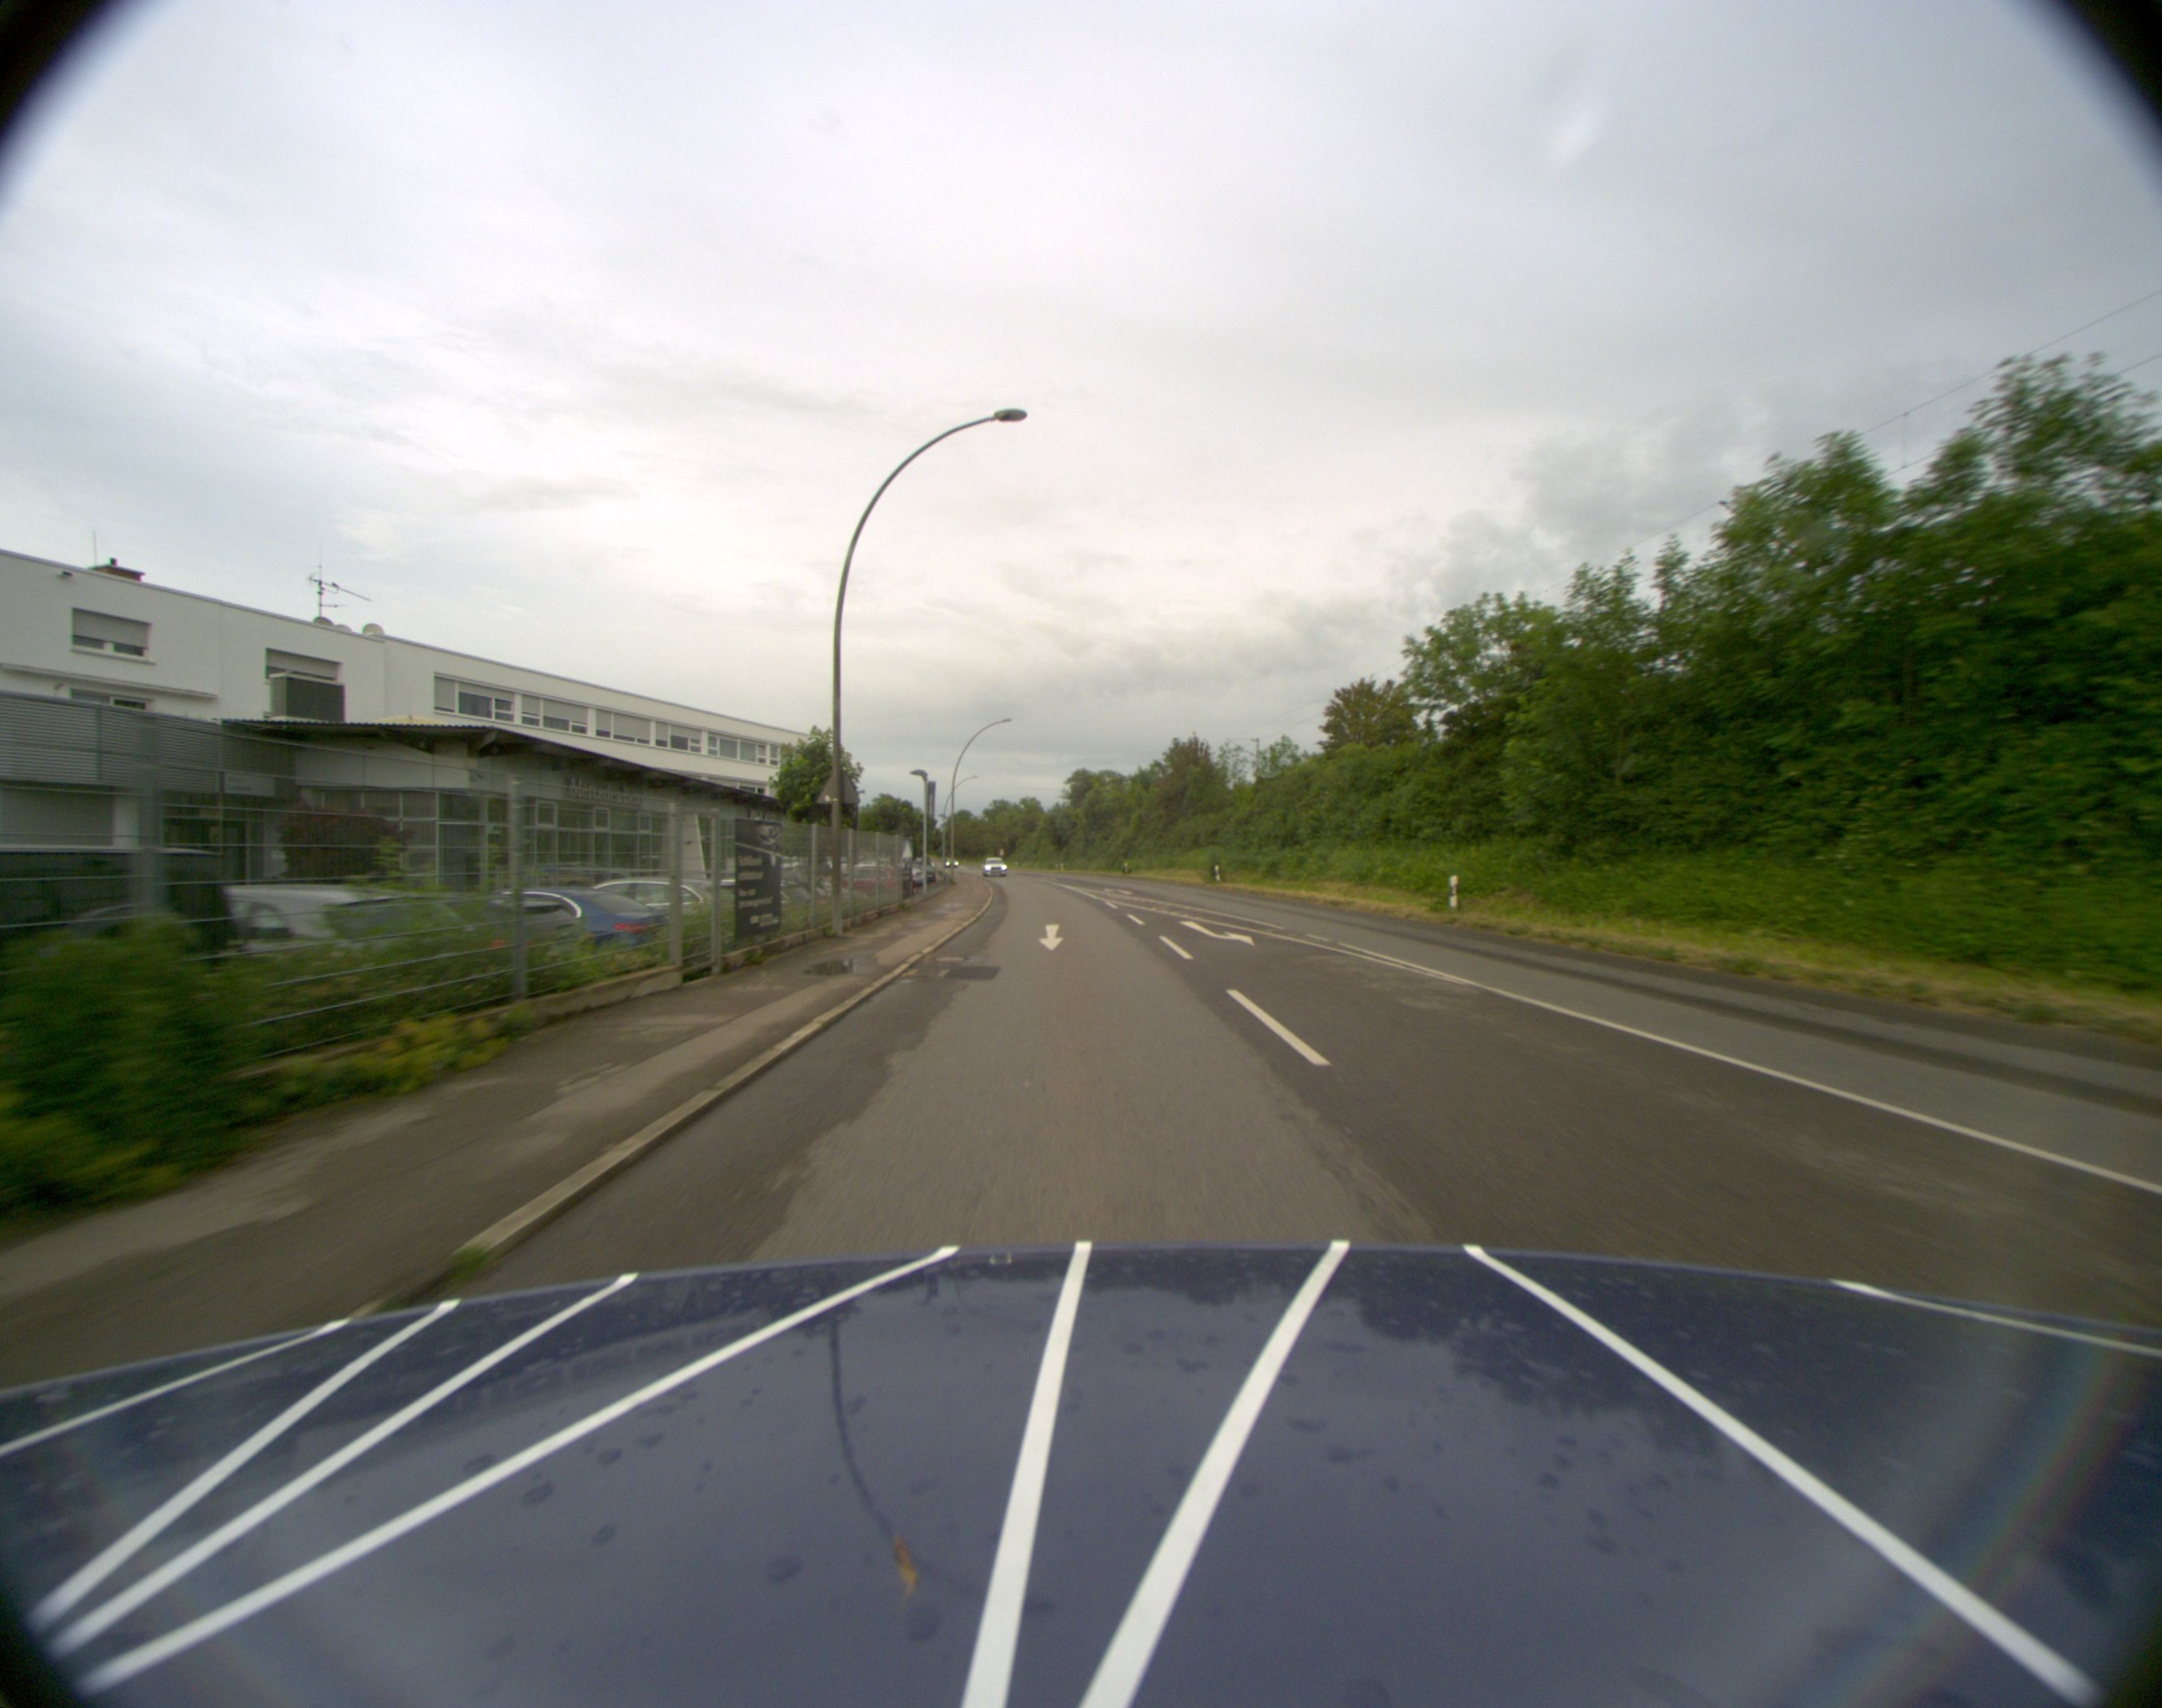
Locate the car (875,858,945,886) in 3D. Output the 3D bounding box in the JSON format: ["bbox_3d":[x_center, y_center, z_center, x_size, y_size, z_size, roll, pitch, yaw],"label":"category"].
[{"bbox_3d":[-10.870,1.147,48.399,3.990,1.547,1.902,-2,2,27],"label":"car"}]

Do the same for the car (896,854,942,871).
[{"bbox_3d":[-16.910,0.863,79.568,1.921,1.643,4.437,0,1,43],"label":"car"}]

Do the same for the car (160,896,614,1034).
[{"bbox_3d":[-8.440,1.314,9.544,3.997,1.426,1.825,-1,0,0],"label":"car"}]

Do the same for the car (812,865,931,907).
[{"bbox_3d":[-9.242,1.405,33.490,4.687,1.653,2.002,-2,2,20],"label":"car"}]

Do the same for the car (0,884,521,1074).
[{"bbox_3d":[-8.063,1.122,7.323,3.996,1.396,1.789,-2,2,4],"label":"car"}]

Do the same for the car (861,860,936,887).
[{"bbox_3d":[-11.022,1.140,45.879,4.163,1.459,1.840,1,1,25],"label":"car"}]

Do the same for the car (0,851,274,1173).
[{"bbox_3d":[-8.560,1.031,5.137,4.146,1.883,1.773,-2,2,-1],"label":"car"}]

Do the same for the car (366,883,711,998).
[{"bbox_3d":[-8.439,1.308,12.153,3.997,1.396,1.999,-2,2,0],"label":"car"}]
